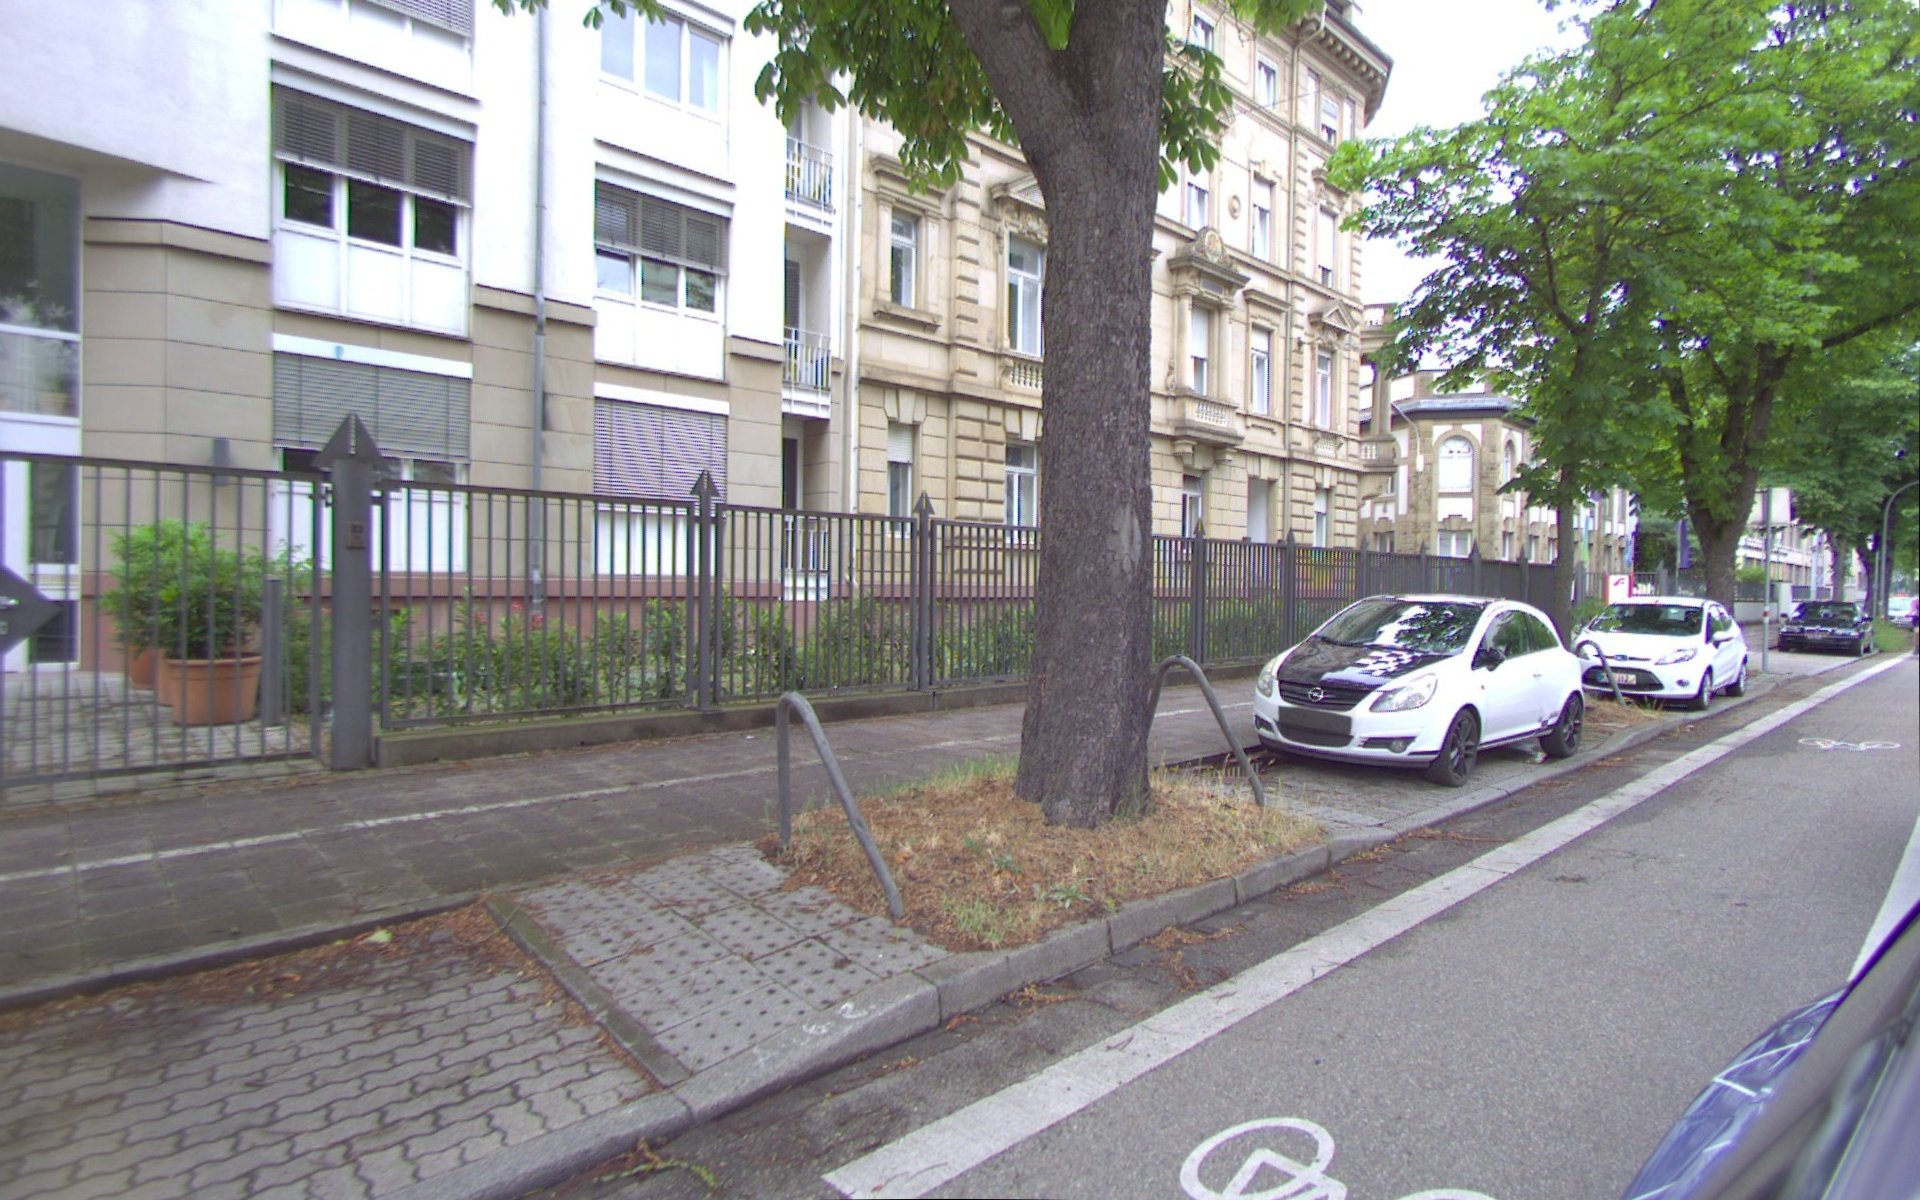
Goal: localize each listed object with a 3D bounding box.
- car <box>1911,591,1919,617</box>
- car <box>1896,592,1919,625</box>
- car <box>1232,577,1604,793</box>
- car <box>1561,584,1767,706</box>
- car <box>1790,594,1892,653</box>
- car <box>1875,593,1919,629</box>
[{"bbox_3d":[53.604,0.224,55.634,3.772,1.387,1.605,0,3,-43],"label":"car"},{"bbox_3d":[44.861,0.410,47.083,3.772,1.442,1.605,0,3,-43],"label":"car"},{"bbox_3d":[4.177,0.580,8.975,3.712,1.453,1.605,0,3,-42],"label":"car"},{"bbox_3d":[10.204,0.548,14.579,3.701,1.453,1.630,0,3,-43],"label":"car"},{"bbox_3d":[23.532,0.579,26.998,3.772,1.387,1.605,0,3,-43],"label":"car"},{"bbox_3d":[39.521,0.431,42.227,3.772,1.387,1.605,0,3,-43],"label":"car"}]
